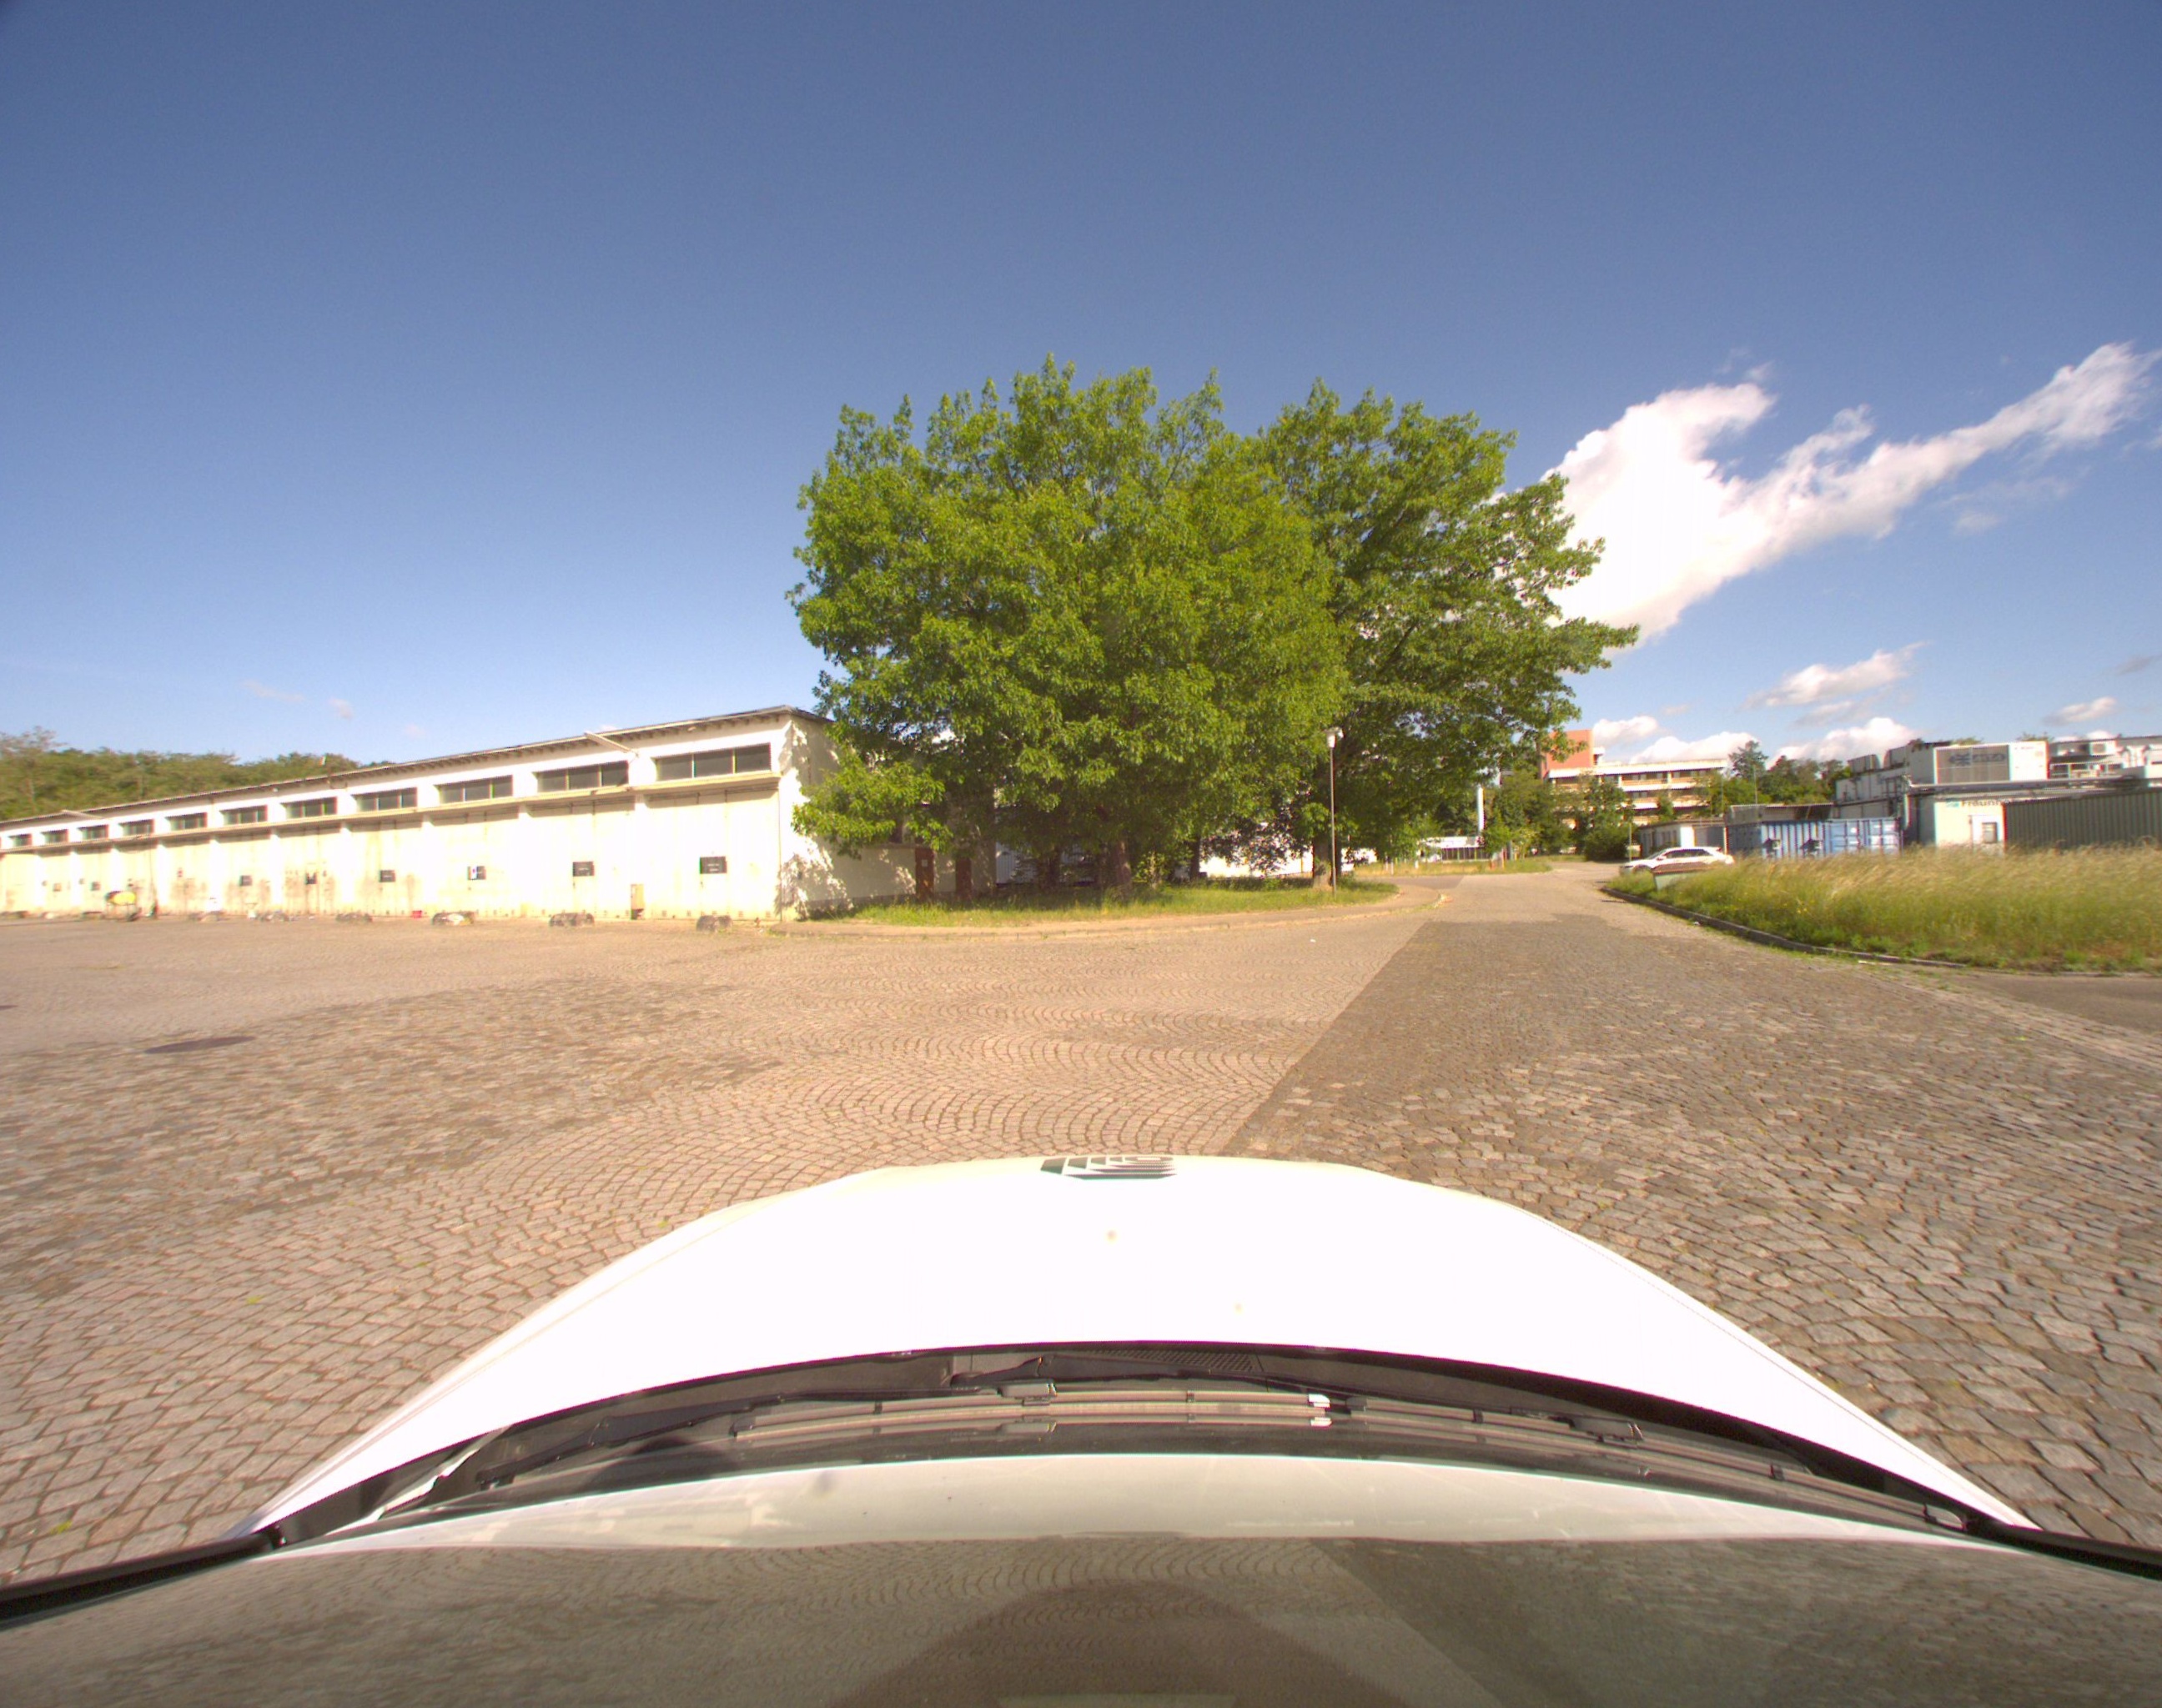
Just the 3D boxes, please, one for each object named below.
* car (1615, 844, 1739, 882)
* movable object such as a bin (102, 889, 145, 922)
[{"bbox_3d":[28.787,0.453,39.530,4.545,1.677,1.886,-2,-1,26],"label":"car"},{"bbox_3d":[-40.940,2.201,34.829,1.265,1.332,0.830,-2,-1,21],"label":"movable object such as a bin"}]
